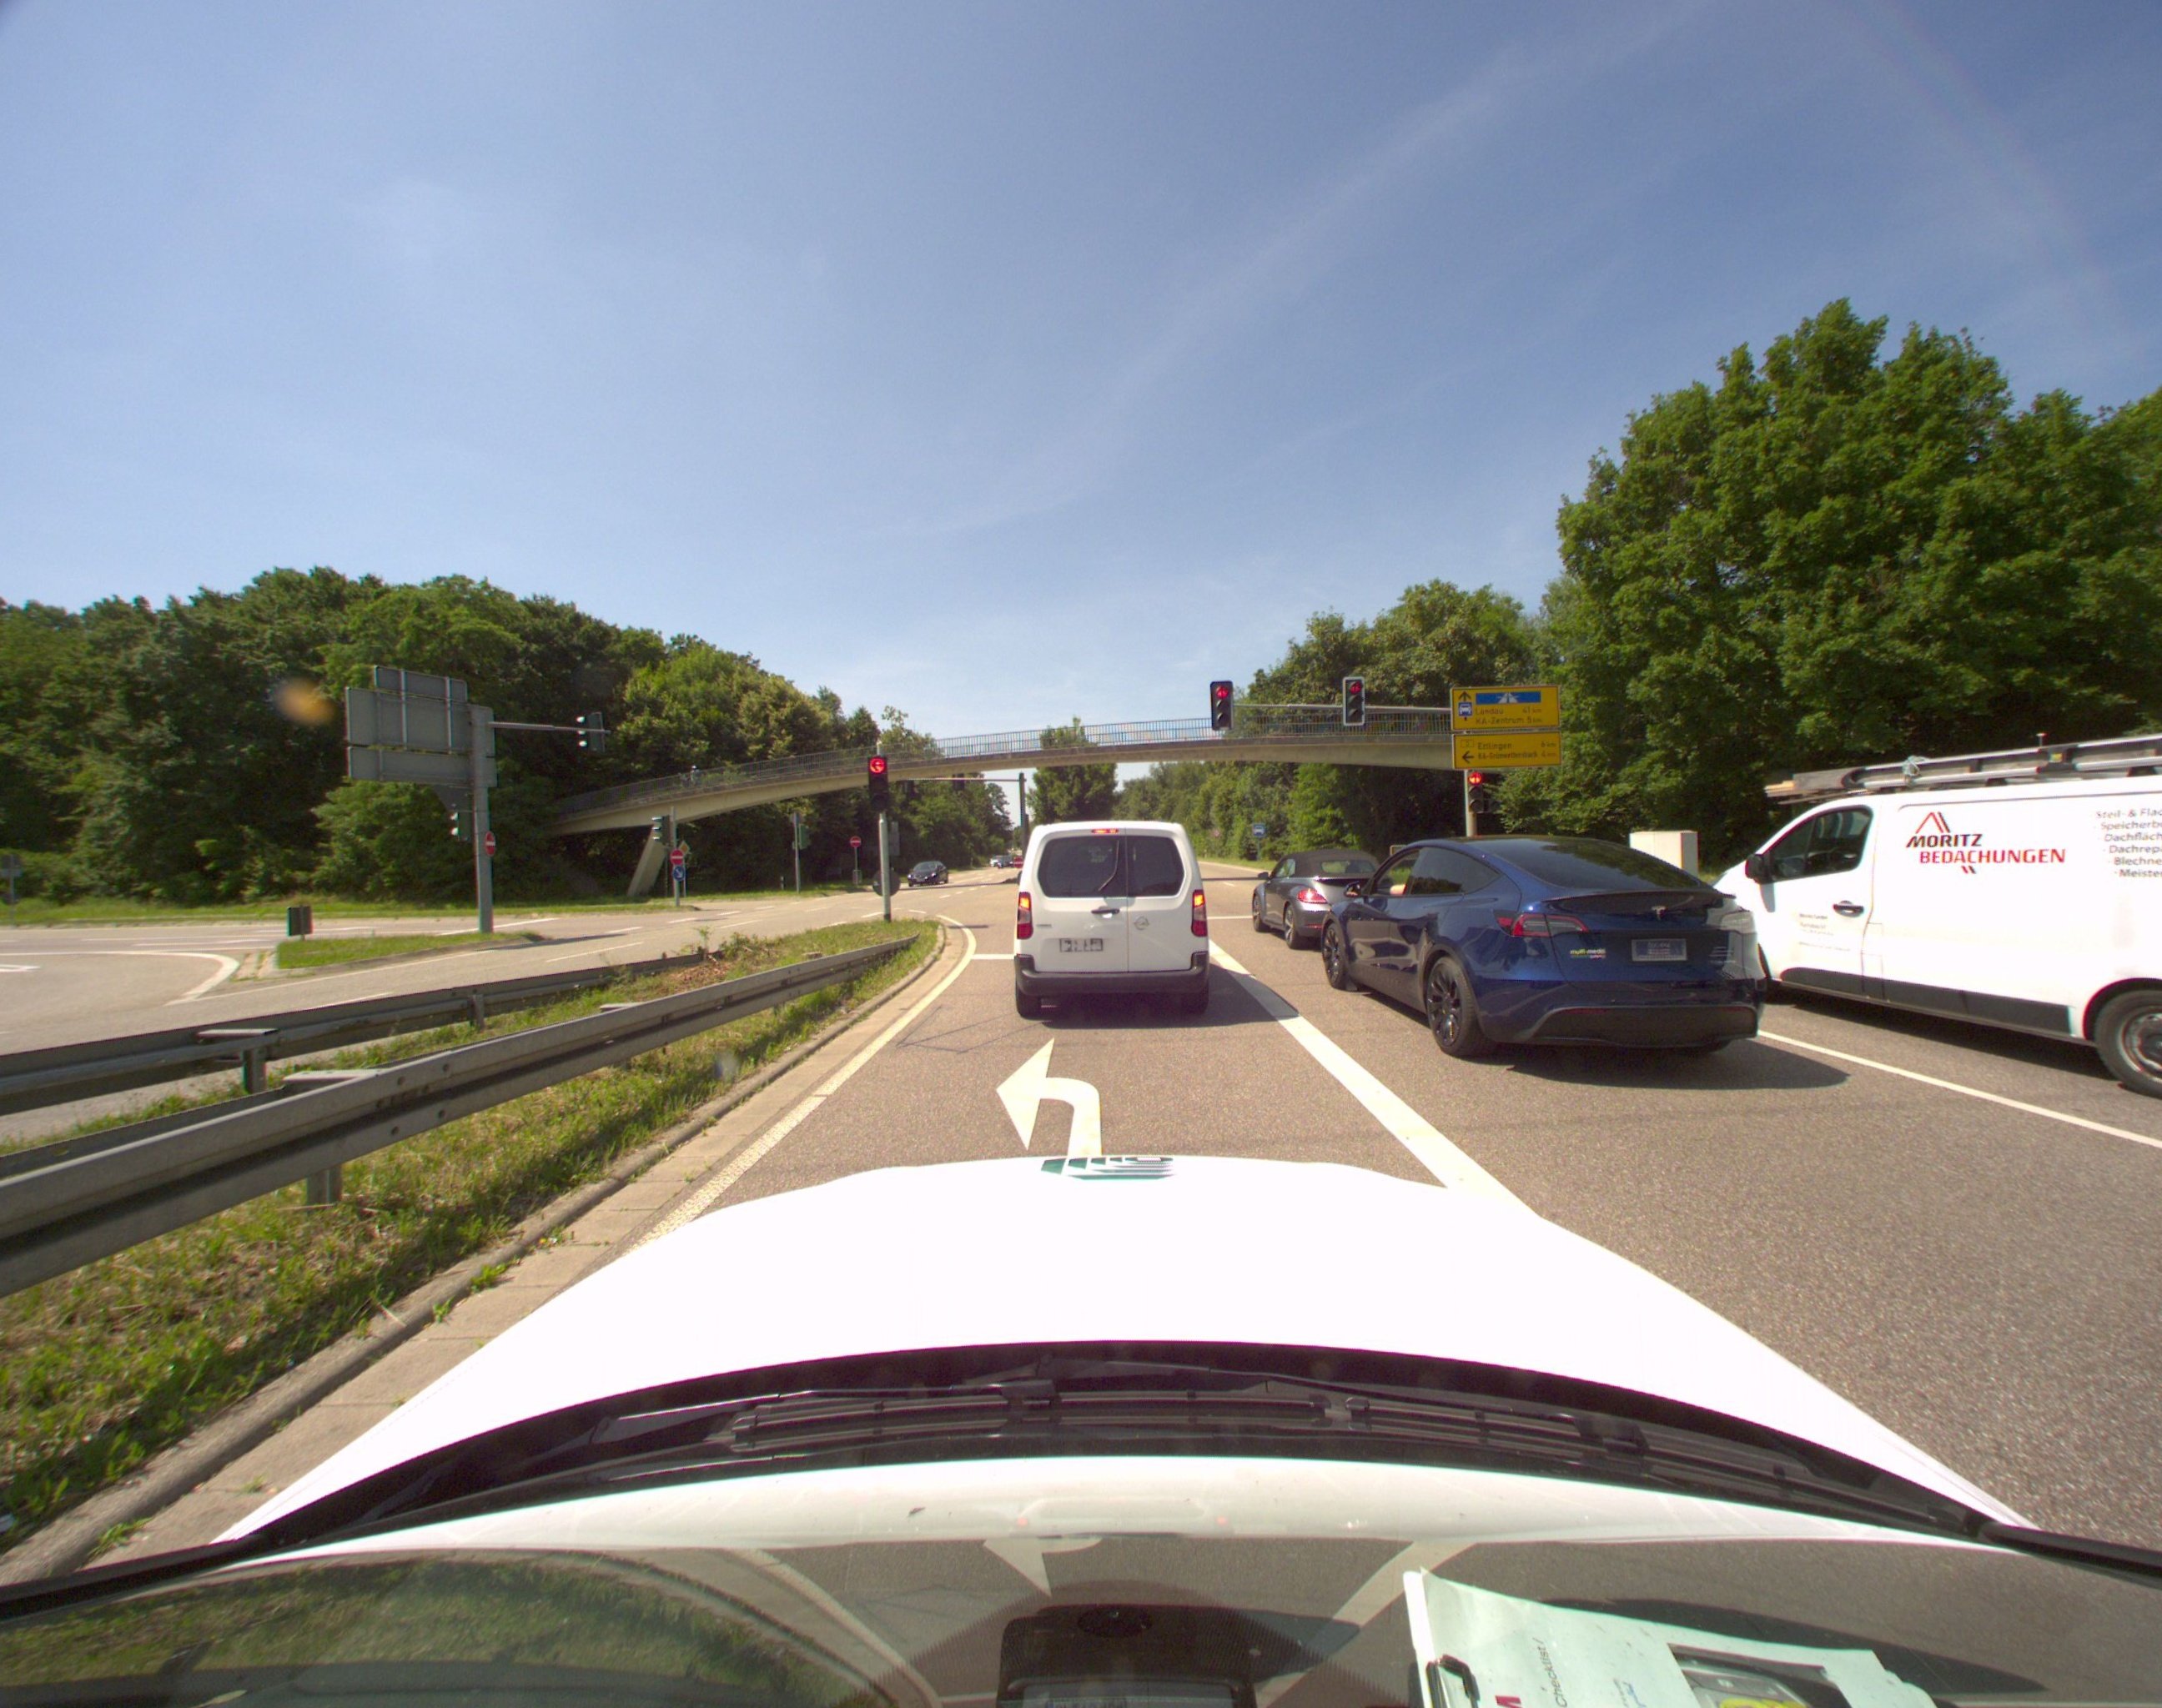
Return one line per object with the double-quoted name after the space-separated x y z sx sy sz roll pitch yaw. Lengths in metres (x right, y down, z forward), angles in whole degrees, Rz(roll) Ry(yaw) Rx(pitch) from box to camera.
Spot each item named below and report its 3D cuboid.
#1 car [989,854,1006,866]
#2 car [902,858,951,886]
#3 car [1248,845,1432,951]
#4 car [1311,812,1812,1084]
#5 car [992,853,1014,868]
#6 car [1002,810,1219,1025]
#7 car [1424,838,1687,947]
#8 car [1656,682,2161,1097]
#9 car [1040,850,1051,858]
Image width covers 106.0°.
-11.354 0.821 111.275 1.746 1.406 4.002 -3 0 2 "car"
-9.388 1.078 49.878 2.000 1.460 4.057 -3 0 2 "car"
4.037 0.605 13.411 1.893 1.477 3.941 -1 0 2 "car"
3.558 0.560 7.216 1.893 1.644 4.522 -1 0 2 "car"
-8.970 0.725 94.063 1.986 1.665 4.002 -3 0 2 "car"
0.292 0.517 8.972 1.842 1.825 3.982 -1 1 1 "car"
7.440 0.511 13.373 1.893 1.477 4.382 -1 0 2 "car"
7.122 0.188 6.258 1.925 2.349 5.077 -1 0 1 "car"
-7.314 0.004 168.353 1.986 1.665 4.002 -3 0 2 "car"
